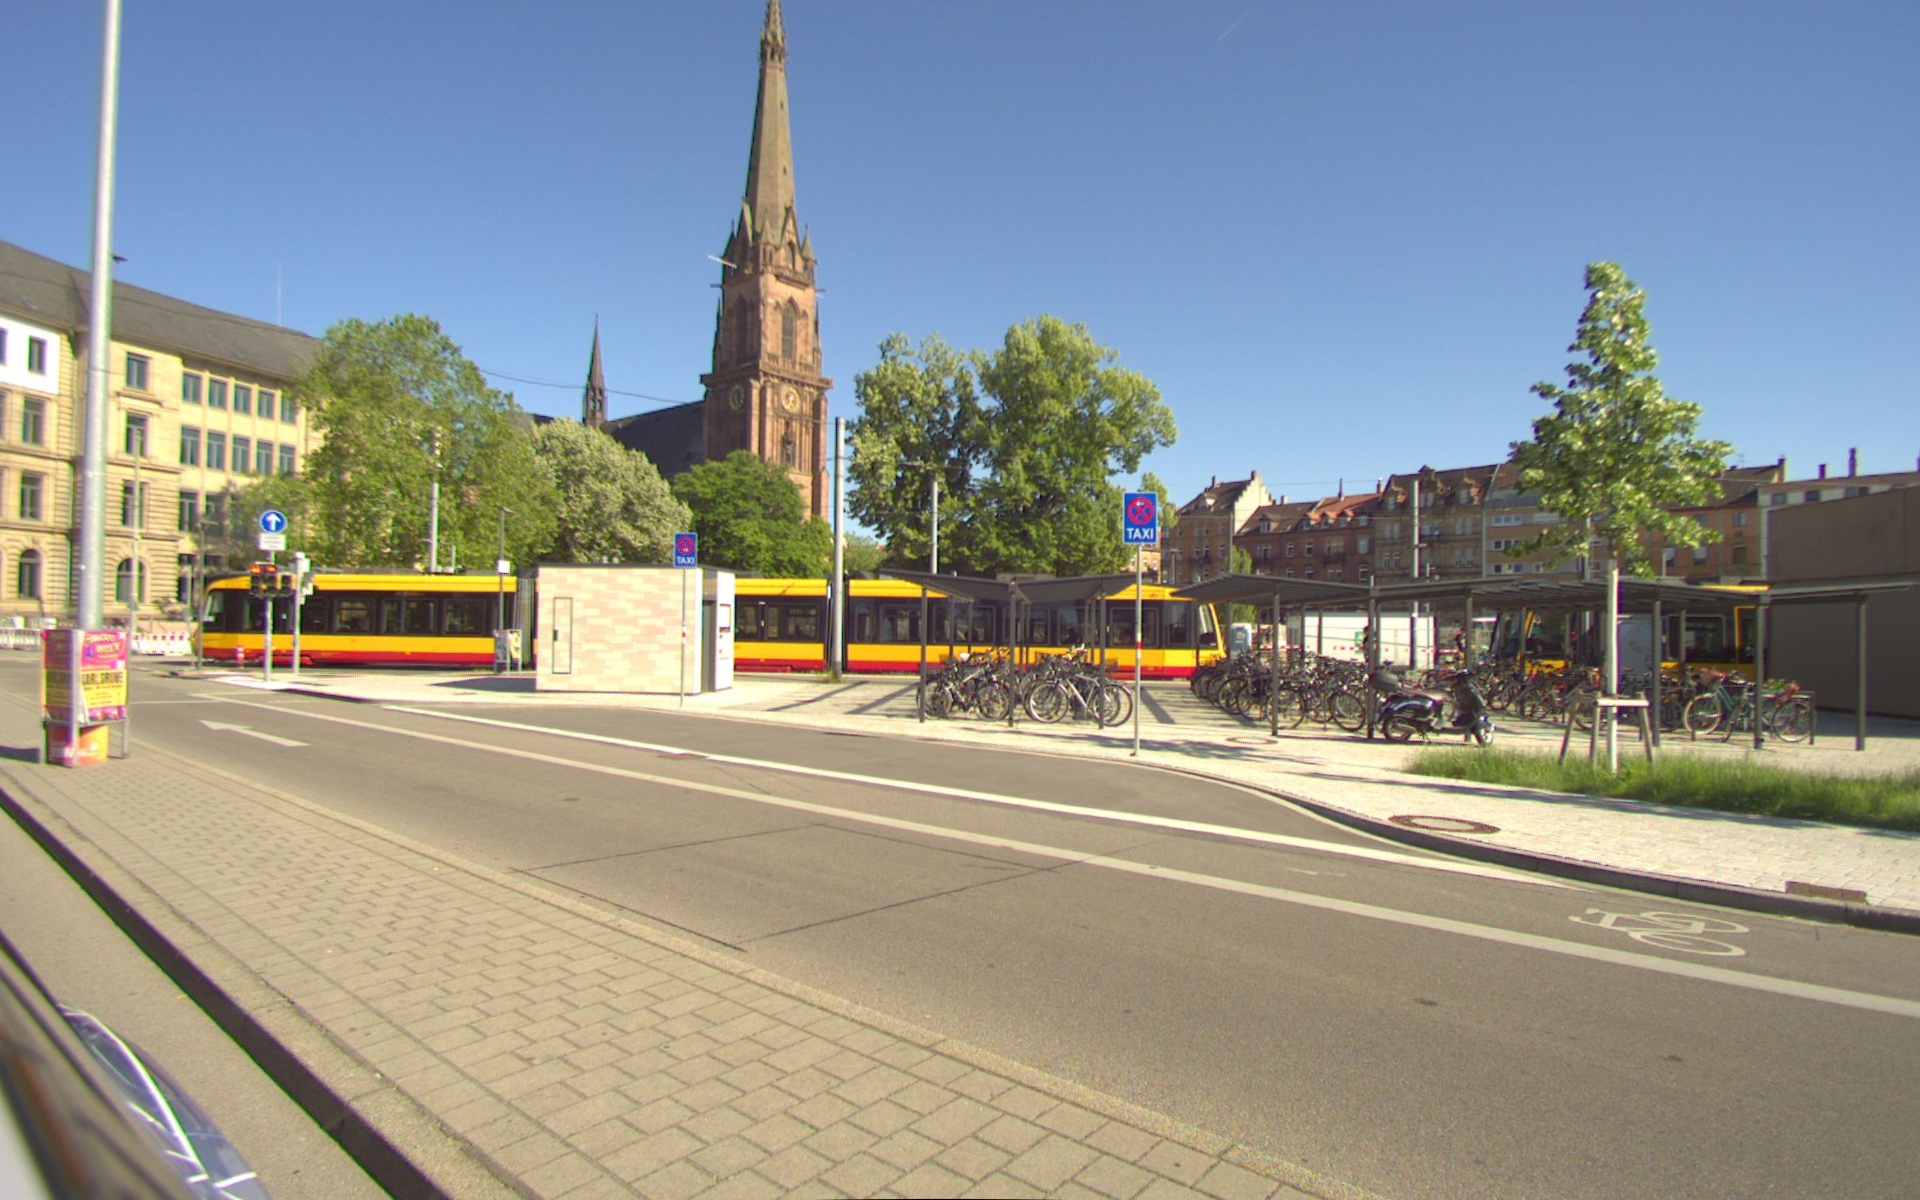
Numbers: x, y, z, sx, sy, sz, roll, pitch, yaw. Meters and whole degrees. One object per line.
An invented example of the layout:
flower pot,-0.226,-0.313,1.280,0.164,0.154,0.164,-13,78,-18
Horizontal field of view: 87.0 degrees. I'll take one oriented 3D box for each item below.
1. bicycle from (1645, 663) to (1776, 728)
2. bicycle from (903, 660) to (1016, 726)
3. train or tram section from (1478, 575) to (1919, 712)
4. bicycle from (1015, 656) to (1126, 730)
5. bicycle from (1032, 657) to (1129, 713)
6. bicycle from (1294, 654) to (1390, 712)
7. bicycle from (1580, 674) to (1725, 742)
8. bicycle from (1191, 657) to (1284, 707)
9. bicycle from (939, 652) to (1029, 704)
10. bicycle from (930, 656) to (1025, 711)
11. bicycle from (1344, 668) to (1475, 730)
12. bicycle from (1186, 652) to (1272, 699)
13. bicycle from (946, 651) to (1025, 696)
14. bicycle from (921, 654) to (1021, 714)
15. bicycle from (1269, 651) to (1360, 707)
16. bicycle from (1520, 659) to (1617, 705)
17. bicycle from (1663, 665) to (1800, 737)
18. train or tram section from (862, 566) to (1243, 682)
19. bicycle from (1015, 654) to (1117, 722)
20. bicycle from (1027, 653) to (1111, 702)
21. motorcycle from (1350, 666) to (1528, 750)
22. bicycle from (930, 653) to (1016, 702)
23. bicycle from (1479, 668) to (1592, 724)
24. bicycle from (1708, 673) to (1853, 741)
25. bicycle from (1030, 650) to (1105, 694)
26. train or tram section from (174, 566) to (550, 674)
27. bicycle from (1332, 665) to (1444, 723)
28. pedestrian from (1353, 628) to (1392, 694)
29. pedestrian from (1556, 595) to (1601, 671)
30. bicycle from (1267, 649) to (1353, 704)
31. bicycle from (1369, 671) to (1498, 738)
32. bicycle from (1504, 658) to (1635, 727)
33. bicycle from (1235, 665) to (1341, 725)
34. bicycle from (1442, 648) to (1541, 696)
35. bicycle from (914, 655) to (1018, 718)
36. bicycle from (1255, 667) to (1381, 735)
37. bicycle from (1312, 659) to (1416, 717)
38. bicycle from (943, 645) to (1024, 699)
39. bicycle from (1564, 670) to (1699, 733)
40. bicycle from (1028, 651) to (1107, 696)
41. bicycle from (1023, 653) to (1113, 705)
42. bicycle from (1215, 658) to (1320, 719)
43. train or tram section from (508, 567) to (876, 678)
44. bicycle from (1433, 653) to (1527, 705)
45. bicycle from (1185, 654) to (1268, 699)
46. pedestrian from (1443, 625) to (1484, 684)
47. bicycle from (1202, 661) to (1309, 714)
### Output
bicycle,13.588,1.717,18.362,1.808,1.101,0.627,0,-2,7
bicycle,0.004,1.584,17.376,1.847,1.015,0.699,2,-2,9
train or tram section,21.657,1.177,28.666,12.179,3.628,2.748,0,-2,7
bicycle,1.862,1.556,17.136,1.808,1.167,0.627,1,-2,7
bicycle,2.319,1.635,19.544,1.808,1.015,0.745,0,-2,7
bicycle,8.109,1.746,21.530,1.808,1.170,0.627,0,-2,7
bicycle,11.156,1.723,16.351,1.809,1.015,0.627,0,-2,9
bicycle,5.967,1.757,21.808,1.805,1.015,0.629,0,-2,0
bicycle,0.510,1.615,21.143,1.809,1.015,0.627,0,-2,9
bicycle,0.358,1.635,19.987,1.809,1.015,0.627,0,-2,9
bicycle,7.917,1.731,17.879,2.003,1.015,0.627,0,-2,7
bicycle,6.119,1.721,23.113,1.807,1.015,0.628,0,-2,5
bicycle,0.618,1.750,24.117,1.809,1.015,0.627,0,-2,9
bicycle,0.210,1.544,18.768,1.809,1.059,0.571,0,-2,9
bicycle,7.926,1.767,22.681,1.808,1.198,0.647,0,-2,7
bicycle,14.051,1.880,23.408,1.808,1.015,0.627,0,-2,7
bicycle,12.989,1.688,17.066,1.805,1.155,0.629,0,-2,0
train or tram section,2.985,0.778,33.886,12.174,3.628,2.828,0,-2,6
bicycle,1.907,1.578,18.279,1.808,1.157,0.627,0,-2,7
bicycle,2.375,1.687,22.126,1.808,1.015,0.627,0,-2,7
motorcycle,7.166,1.604,15.236,2.333,1.167,0.610,0,-2,7
bicycle,0.287,1.691,22.174,1.809,1.015,0.627,0,-2,9
bicycle,11.259,1.873,19.843,1.809,1.015,0.627,0,-2,9
bicycle,13.018,1.695,16.079,1.803,1.015,0.629,1,-2,-3
bicycle,2.630,1.758,24.812,1.808,1.015,0.627,0,-2,7
train or tram section,-21.394,0.701,36.447,12.382,3.628,2.796,0,-2,6
bicycle,7.998,1.749,18.973,1.808,1.015,0.627,0,-2,7
pedestrian,10.752,1.579,26.395,0.762,1.672,0.604,0,-2,4
pedestrian,15.468,0.828,25.313,0.700,1.869,0.751,2,-2,-38
bicycle,8.234,1.784,23.878,1.808,1.242,0.627,0,-2,7
bicycle,7.765,1.704,16.653,1.808,1.015,0.627,0,-2,7
bicycle,11.295,1.704,18.803,2.029,1.218,0.505,0,-2,8
bicycle,5.851,1.686,18.135,1.731,1.015,0.547,0,-2,10
bicycle,11.685,1.577,22.309,1.809,1.015,0.627,0,-2,9
bicycle,0.114,1.538,18.240,1.809,1.074,0.627,0,-2,9
bicycle,5.975,1.677,16.981,1.871,1.050,0.688,0,-2,9
bicycle,8.072,1.747,20.264,1.808,1.088,0.627,0,-2,7
bicycle,0.560,1.647,23.418,1.809,1.188,0.627,0,-2,9
bicycle,11.601,1.742,17.528,1.872,1.004,0.499,0,-2,13
bicycle,2.508,1.703,23.612,1.808,1.015,0.627,0,-2,7
bicycle,2.227,1.609,20.851,1.808,1.015,0.627,0,-2,7
bicycle,5.874,1.682,19.413,1.859,1.101,0.626,0,-2,8
train or tram section,-9.165,0.753,35.183,12.174,3.628,2.796,0,-2,6
bicycle,11.999,1.814,23.405,1.809,1.140,0.627,0,-2,9
bicycle,6.249,1.785,23.801,1.808,1.015,0.627,0,-2,6
pedestrian,17.663,1.901,35.511,0.997,2.029,0.872,0,-2,0
bicycle,5.947,1.761,20.434,1.978,1.015,0.628,0,-2,4
